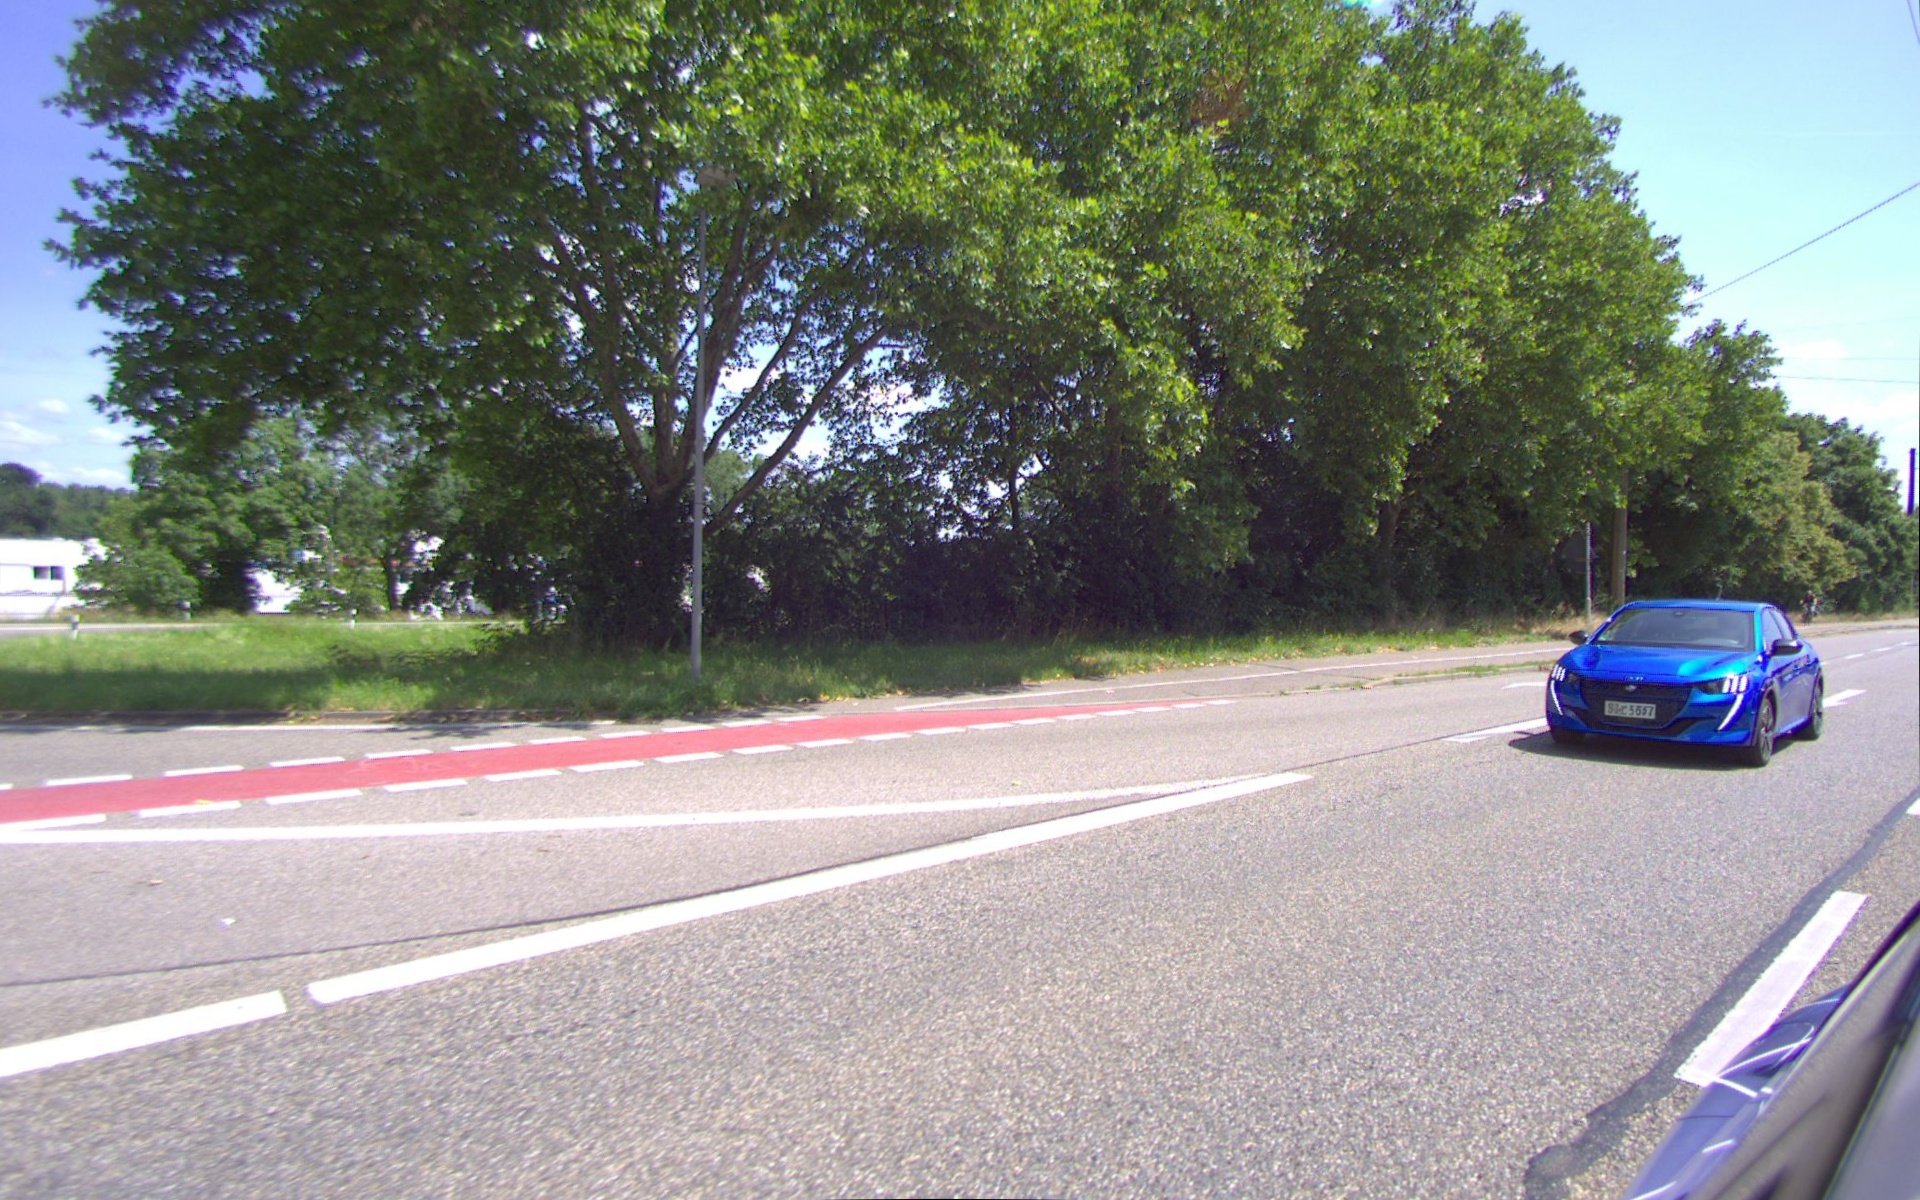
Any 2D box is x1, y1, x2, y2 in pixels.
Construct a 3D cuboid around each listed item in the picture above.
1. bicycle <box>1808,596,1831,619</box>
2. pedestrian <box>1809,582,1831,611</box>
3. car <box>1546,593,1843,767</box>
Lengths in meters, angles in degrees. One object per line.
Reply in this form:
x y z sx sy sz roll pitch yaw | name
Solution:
41.581 0.353 48.940 1.815 1.037 0.561 -1 2 -41 | bicycle
41.530 -0.168 48.877 1.032 1.391 0.629 0 2 -41 | pedestrian
7.497 0.652 10.211 3.678 1.423 1.658 0 1 -41 | car
